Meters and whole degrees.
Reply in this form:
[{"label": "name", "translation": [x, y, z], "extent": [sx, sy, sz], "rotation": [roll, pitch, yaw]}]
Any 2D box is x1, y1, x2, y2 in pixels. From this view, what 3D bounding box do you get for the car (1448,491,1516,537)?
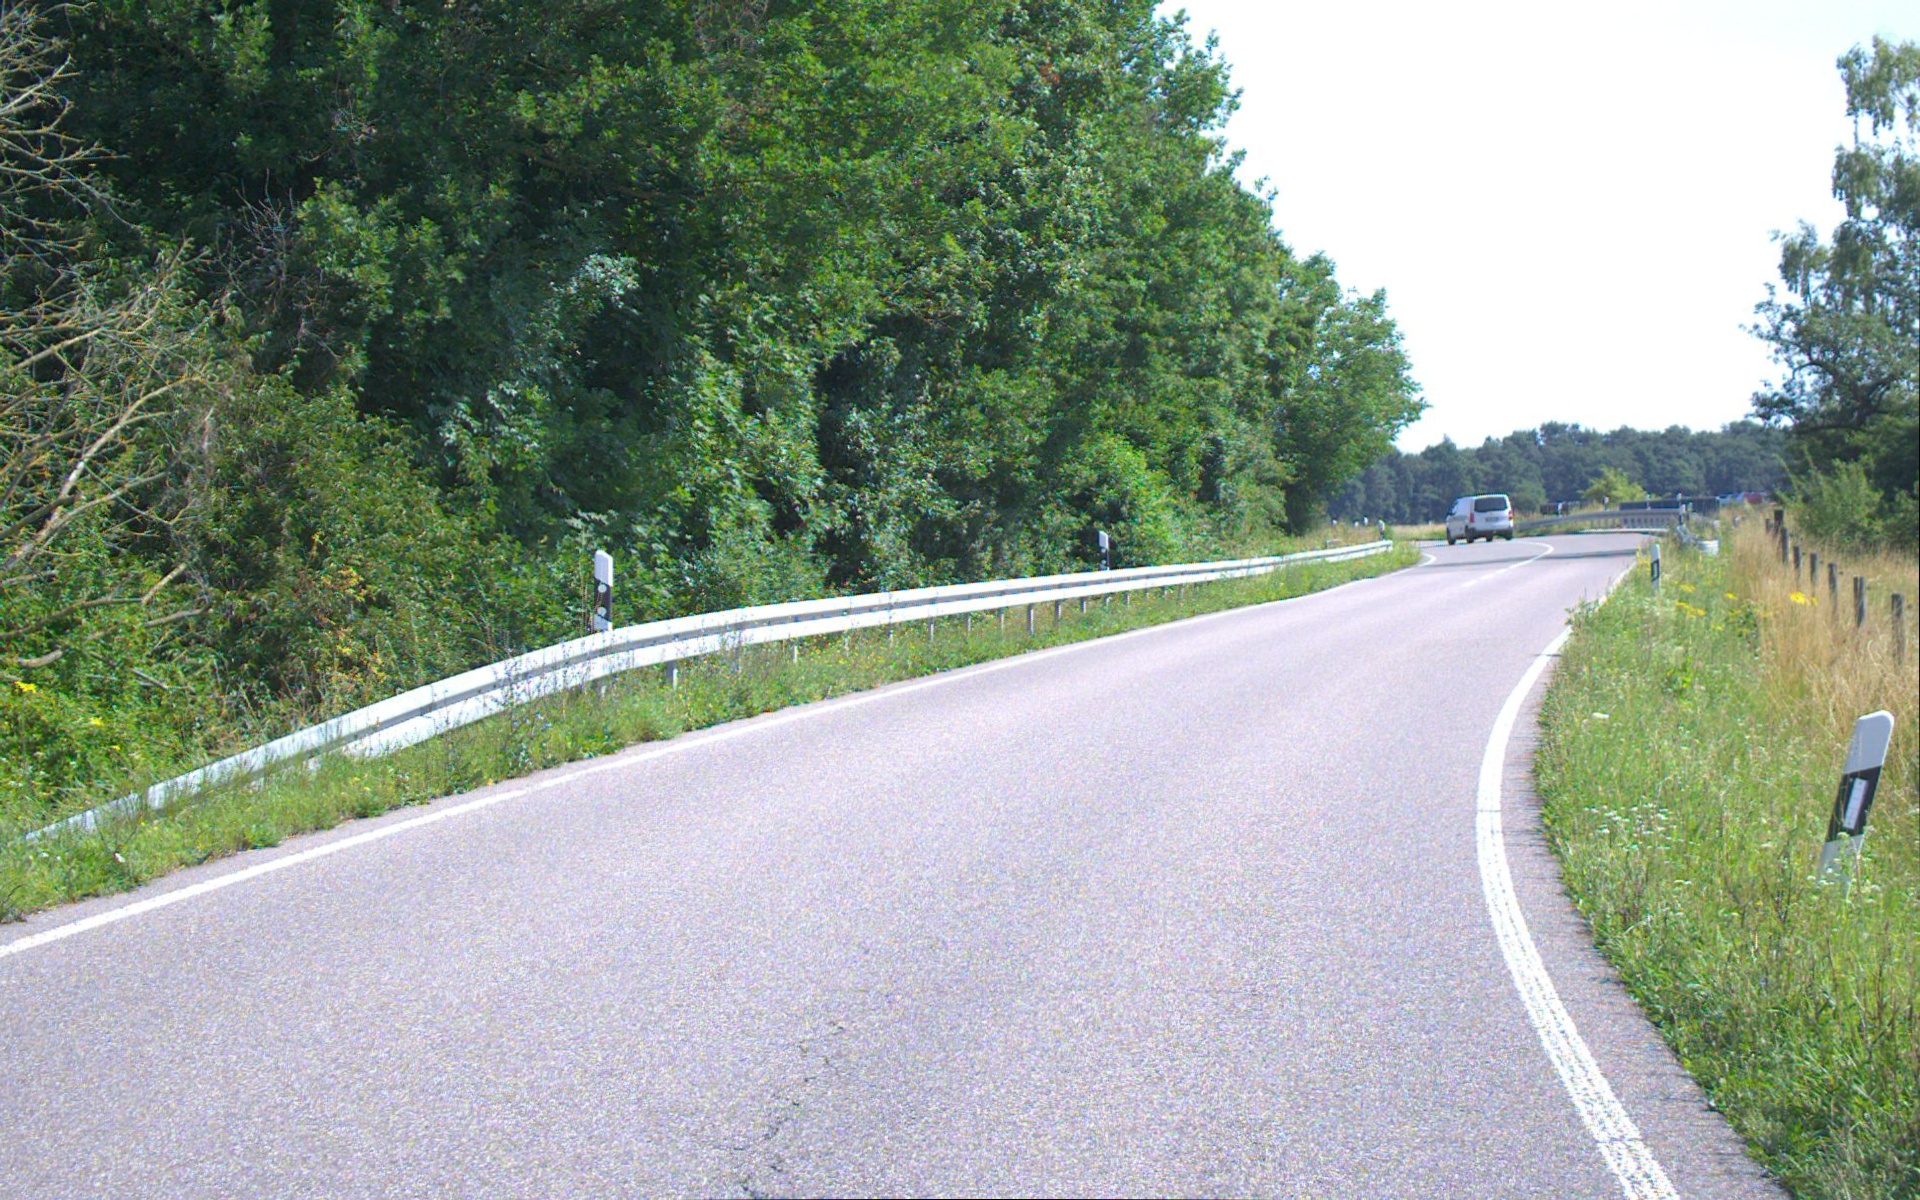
[{"label": "car", "translation": [21.741, -3.579, 143.261], "extent": [1.962, 1.796, 4.161], "rotation": [0, 0, -4]}]
